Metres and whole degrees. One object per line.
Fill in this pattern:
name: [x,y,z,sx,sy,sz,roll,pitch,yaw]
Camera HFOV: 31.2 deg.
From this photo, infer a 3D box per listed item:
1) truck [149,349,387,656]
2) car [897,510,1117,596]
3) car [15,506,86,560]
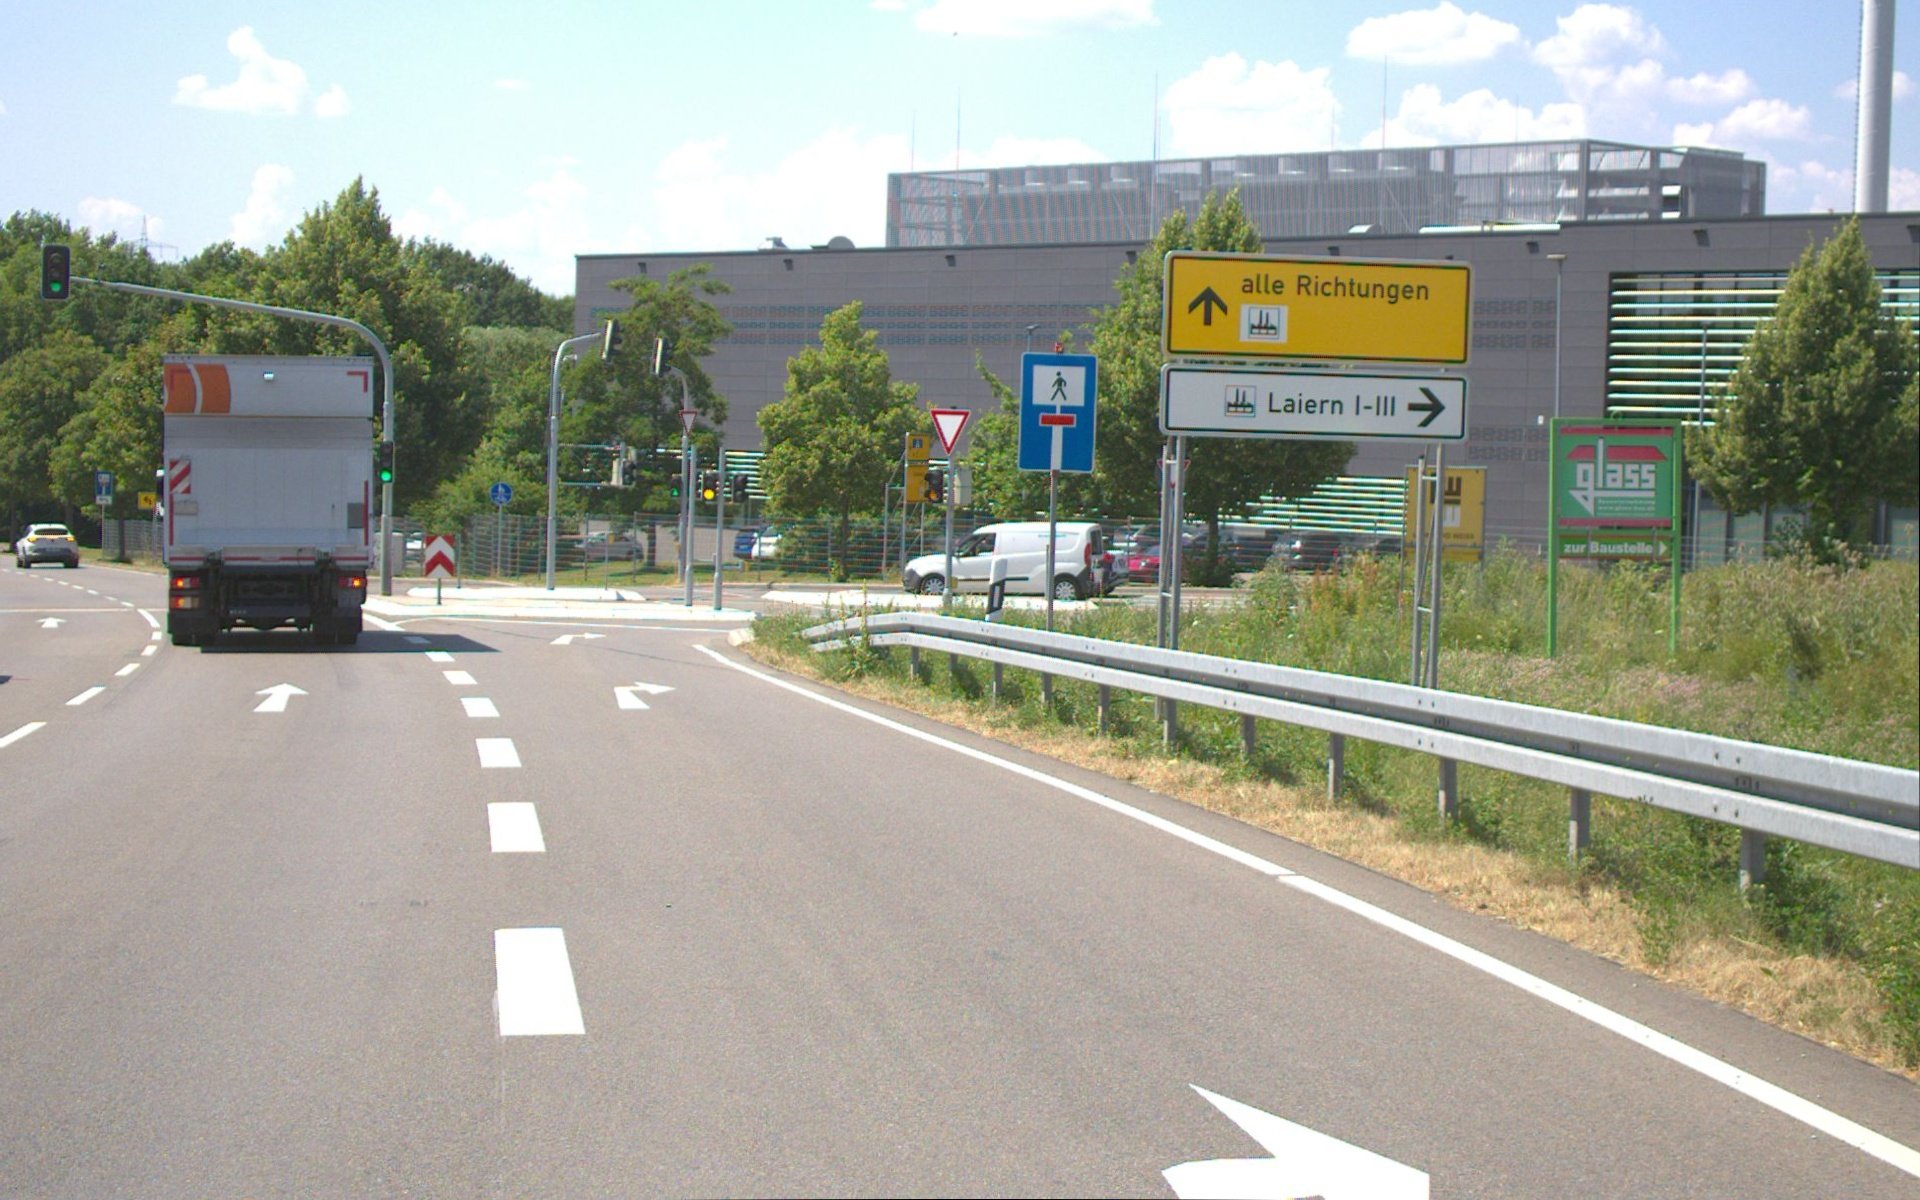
truck: [-9.327,-1.335,46.292,2.803,3.698,9.111,1,2,-12]
car: [1.113,-1.108,79.910,4.748,1.925,2.152,1,1,13]
car: [-31.166,-2.315,117.724,1.943,1.658,4.002,3,1,-20]
